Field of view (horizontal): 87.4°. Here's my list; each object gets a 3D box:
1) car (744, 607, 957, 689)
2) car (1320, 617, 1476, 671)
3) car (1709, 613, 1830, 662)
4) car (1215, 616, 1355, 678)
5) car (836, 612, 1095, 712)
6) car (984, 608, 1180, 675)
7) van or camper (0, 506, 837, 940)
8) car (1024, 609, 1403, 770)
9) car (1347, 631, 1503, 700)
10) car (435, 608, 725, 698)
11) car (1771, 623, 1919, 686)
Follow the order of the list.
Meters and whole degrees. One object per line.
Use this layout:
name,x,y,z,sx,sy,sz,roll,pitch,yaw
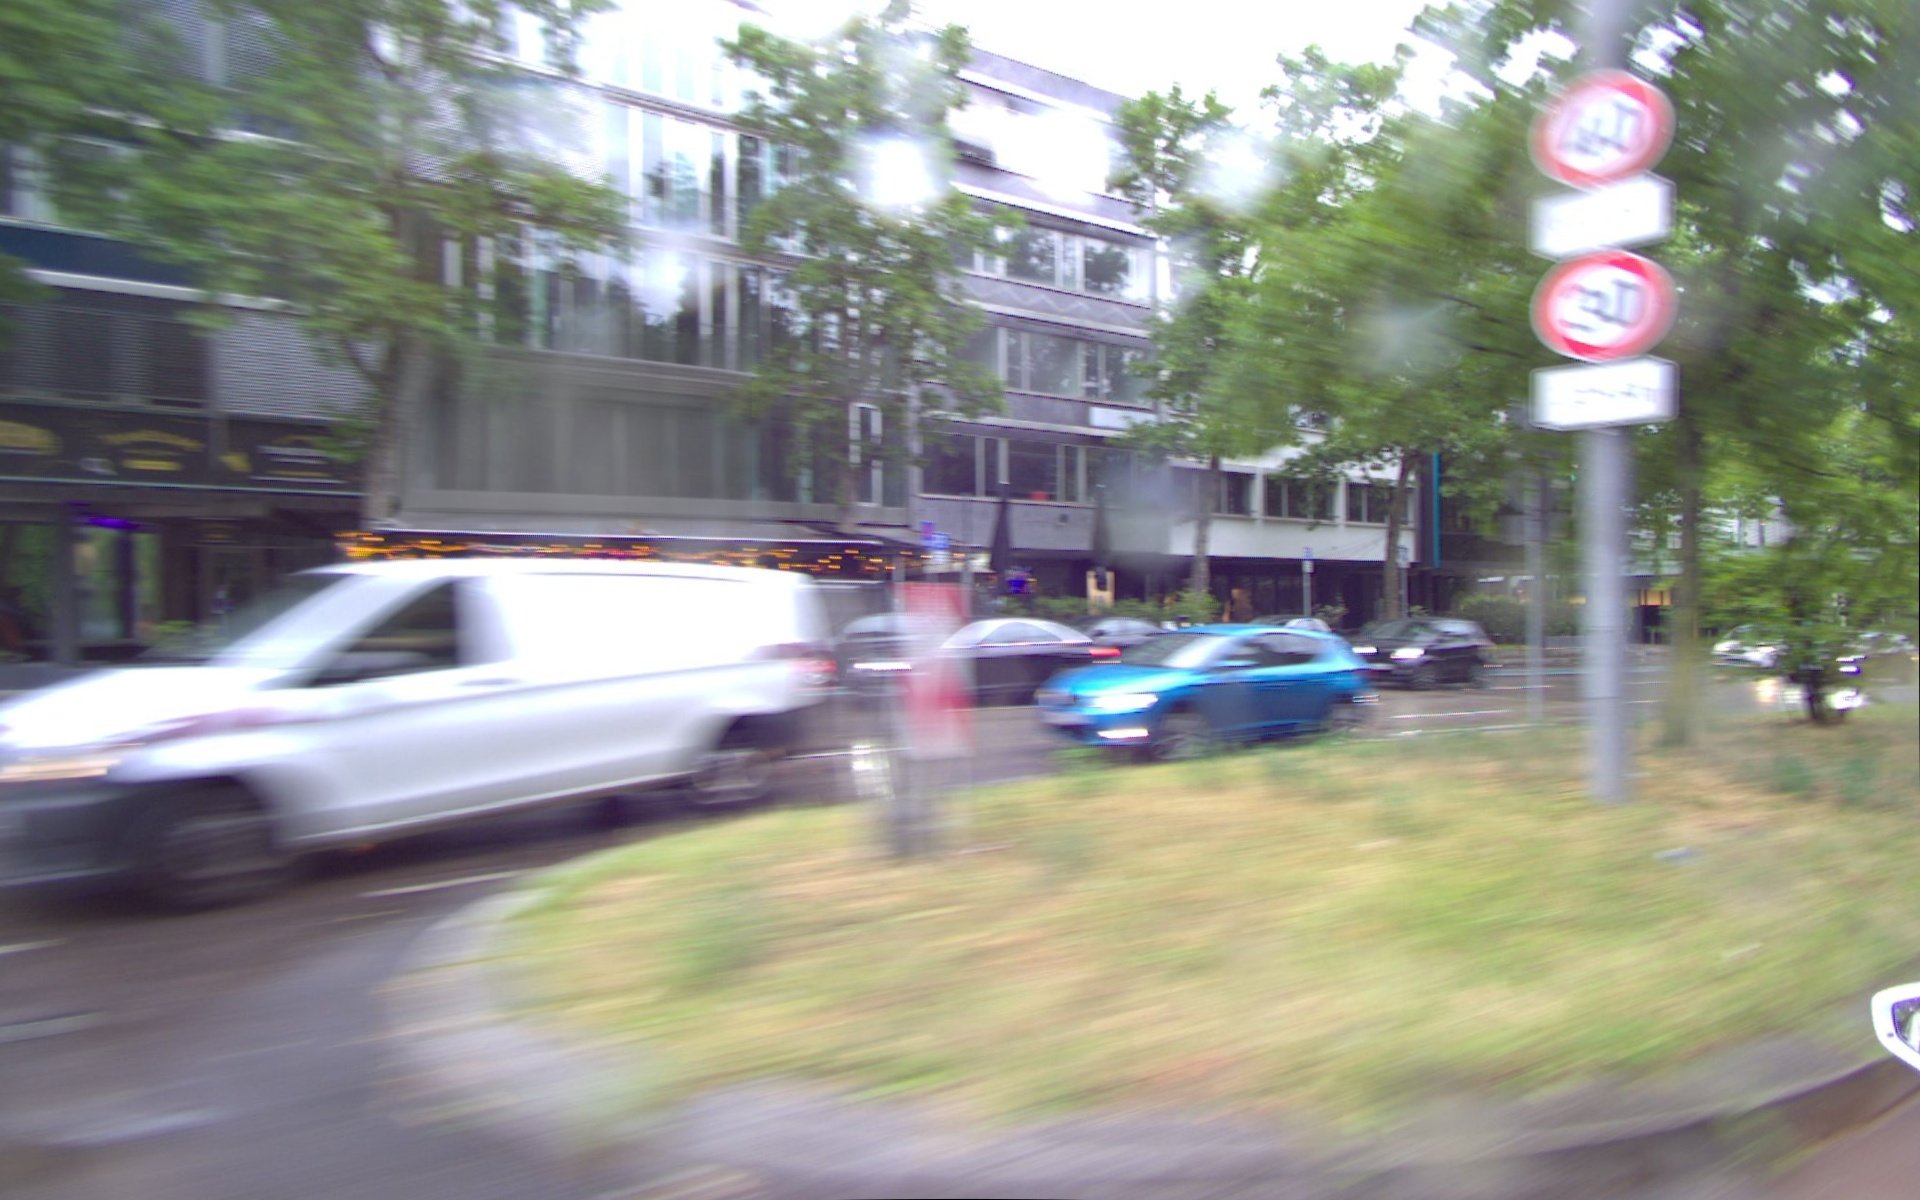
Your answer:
car,-2.206,0.906,20.516,3.953,1.528,1.828,0,0,-31
car,12.848,1.236,29.359,4.847,1.428,1.685,0,0,-31
car,25.511,1.157,31.644,3.600,1.448,1.834,1,-1,-31
car,8.547,1.192,26.405,3.419,1.488,1.685,0,0,-31
car,0.128,0.954,16.818,4.049,1.495,1.741,1,-1,-31
car,2.865,0.898,23.237,4.404,1.428,1.685,0,0,-31
van or camper,-3.459,0.564,6.934,1.971,1.939,5.223,0,0,41
car,3.054,0.907,11.879,4.344,1.502,1.834,-1,1,-31
car,10.297,1.390,22.249,3.010,1.385,1.712,1,-1,-29
car,-6.648,0.850,17.768,4.627,1.371,1.552,0,1,-31
car,23.556,1.420,26.605,4.044,1.495,1.742,2,0,-28
